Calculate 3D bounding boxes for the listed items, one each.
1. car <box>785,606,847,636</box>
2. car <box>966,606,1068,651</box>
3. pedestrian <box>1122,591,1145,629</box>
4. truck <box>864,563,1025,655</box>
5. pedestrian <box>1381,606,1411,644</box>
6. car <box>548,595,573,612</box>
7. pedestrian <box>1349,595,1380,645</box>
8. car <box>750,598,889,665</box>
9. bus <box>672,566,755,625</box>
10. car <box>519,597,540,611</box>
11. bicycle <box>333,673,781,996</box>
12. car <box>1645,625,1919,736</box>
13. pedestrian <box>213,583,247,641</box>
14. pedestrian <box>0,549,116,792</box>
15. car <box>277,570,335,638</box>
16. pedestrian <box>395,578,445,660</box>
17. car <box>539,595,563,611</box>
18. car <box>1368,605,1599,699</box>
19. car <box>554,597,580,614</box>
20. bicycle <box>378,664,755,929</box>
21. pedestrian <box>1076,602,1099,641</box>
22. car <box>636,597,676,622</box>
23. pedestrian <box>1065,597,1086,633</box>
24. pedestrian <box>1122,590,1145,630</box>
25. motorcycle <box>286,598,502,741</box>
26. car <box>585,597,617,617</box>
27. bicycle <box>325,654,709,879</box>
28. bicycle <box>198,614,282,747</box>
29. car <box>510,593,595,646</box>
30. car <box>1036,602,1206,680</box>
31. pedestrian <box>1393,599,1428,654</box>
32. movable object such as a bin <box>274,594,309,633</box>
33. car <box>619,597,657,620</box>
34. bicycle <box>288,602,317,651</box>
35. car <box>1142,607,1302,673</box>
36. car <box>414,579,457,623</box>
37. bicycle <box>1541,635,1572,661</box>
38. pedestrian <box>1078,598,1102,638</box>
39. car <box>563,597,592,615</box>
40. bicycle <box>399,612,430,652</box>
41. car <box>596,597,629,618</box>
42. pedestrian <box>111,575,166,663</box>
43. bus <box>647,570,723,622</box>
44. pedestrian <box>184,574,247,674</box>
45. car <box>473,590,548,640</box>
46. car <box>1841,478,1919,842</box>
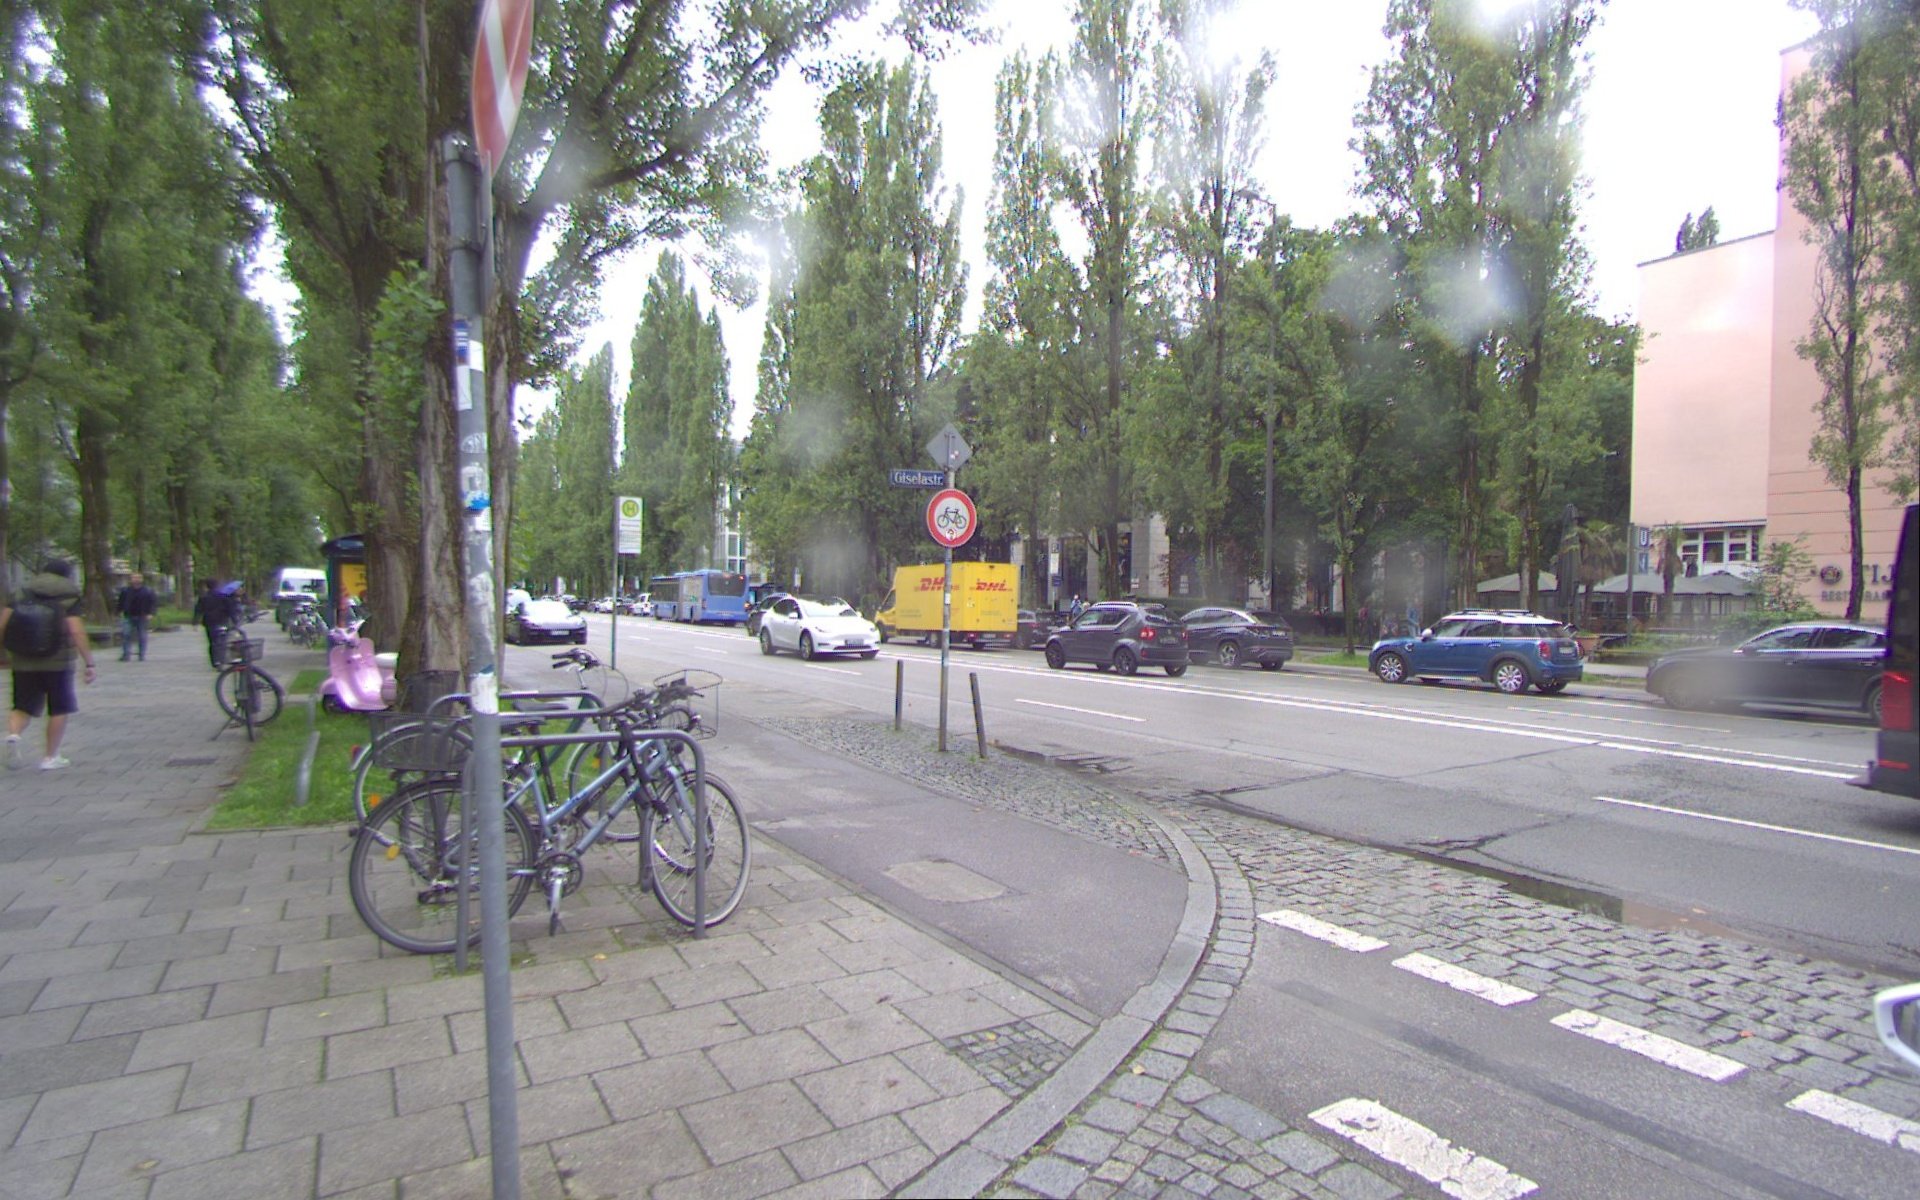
[{"bbox_3d":[-7.462,1.054,51.867,1.773,1.431,3.848,1,0,-32],"label":"car"},{"bbox_3d":[1.983,1.000,36.084,1.773,1.431,3.848,1,0,-32],"label":"car"},{"bbox_3d":[7.814,0.448,45.294,0.701,1.736,0.725,1,0,-31],"label":"pedestrian"},{"bbox_3d":[-0.743,0.267,35.778,2.572,2.946,7.021,1,0,-31],"label":"truck"},{"bbox_3d":[16.113,0.921,37.143,0.723,1.373,0.703,1,0,-31],"label":"pedestrian"},{"bbox_3d":[-44.997,0.366,113.103,1.977,1.745,4.311,2,-1,-31],"label":"car"},{"bbox_3d":[14.345,0.706,35.595,0.701,1.736,0.725,1,0,-31],"label":"pedestrian"},{"bbox_3d":[-3.852,0.758,26.860,1.978,1.596,4.598,-1,1,-32],"label":"car"},{"bbox_3d":[-14.180,-0.214,57.279,2.889,3.092,8.460,0,0,-26],"label":"bus"},{"bbox_3d":[-56.701,0.512,132.274,1.977,1.745,4.311,2,-1,-31],"label":"car"},{"bbox_3d":[-1.649,0.902,4.275,1.681,1.108,0.488,1,0,-28],"label":"bicycle"},{"bbox_3d":[14.180,1.235,16.529,1.773,1.549,4.476,1,0,-31],"label":"car"},{"bbox_3d":[-21.721,0.356,29.903,0.727,1.715,0.642,1,0,-28],"label":"pedestrian"},{"bbox_3d":[-7.163,0.528,7.801,0.743,1.796,0.700,2,-1,-28],"label":"pedestrian"},{"bbox_3d":[-31.454,0.162,48.281,2.177,3.057,5.944,1,0,-34],"label":"car"},{"bbox_3d":[-12.591,0.429,23.431,0.883,1.868,0.759,0,0,-40],"label":"pedestrian"},{"bbox_3d":[-48.697,0.352,119.593,1.977,1.745,4.311,2,-1,-31],"label":"car"},{"bbox_3d":[11.073,1.039,21.501,1.775,1.755,4.041,2,-1,-33],"label":"car"},{"bbox_3d":[-42.744,0.623,109.220,1.977,1.745,4.311,2,-1,-31],"label":"car"},{"bbox_3d":[-1.920,0.902,5.025,1.681,1.108,0.488,1,0,-28],"label":"bicycle"},{"bbox_3d":[5.815,0.982,45.782,0.701,1.736,0.725,1,0,-31],"label":"pedestrian"},{"bbox_3d":[-23.253,0.700,76.713,1.977,1.745,4.085,2,-1,-31],"label":"car"},{"bbox_3d":[5.693,0.739,49.438,0.701,1.736,0.725,1,0,-31],"label":"pedestrian"},{"bbox_3d":[7.629,0.446,44.226,0.701,1.736,0.725,1,0,-31],"label":"pedestrian"},{"bbox_3d":[-5.796,0.678,10.297,1.951,1.211,0.630,6,1,14],"label":"motorcycle"},{"bbox_3d":[-34.016,0.650,95.059,1.977,1.745,4.775,2,-1,-31],"label":"car"},{"bbox_3d":[-2.502,0.891,5.837,1.959,1.108,0.488,1,0,-28],"label":"bicycle"},{"bbox_3d":[-7.266,0.763,10.188,0.577,1.204,1.602,1,0,-32],"label":"bicycle"},{"bbox_3d":[-13.313,0.583,32.666,1.989,1.602,3.966,1,0,-31],"label":"car"},{"bbox_3d":[3.523,0.866,22.584,1.828,1.547,3.722,2,0,-30],"label":"car"},{"bbox_3d":[14.511,0.840,32.367,0.701,1.736,0.725,1,0,-31],"label":"pedestrian"},{"bbox_3d":[-24.649,0.492,37.040,1.053,1.423,0.974,1,0,-35],"label":"movable object such as a bin"},{"bbox_3d":[-26.177,0.685,81.559,1.977,1.745,4.085,2,-1,-31],"label":"car"},{"bbox_3d":[-17.084,0.675,26.118,0.577,1.204,2.123,1,0,-32],"label":"bicycle"},{"bbox_3d":[7.083,1.016,27.528,1.773,1.622,4.200,1,0,-32],"label":"car"},{"bbox_3d":[-33.879,0.050,64.819,1.990,2.667,5.948,1,0,-32],"label":"car"},{"bbox_3d":[18.560,1.486,31.263,1.016,0.809,0.322,1,0,-27],"label":"bicycle"},{"bbox_3d":[5.668,0.795,43.843,0.701,1.736,0.725,1,0,-31],"label":"pedestrian"},{"bbox_3d":[-39.871,0.626,104.517,1.977,1.745,4.775,2,-1,-31],"label":"car"},{"bbox_3d":[-14.882,0.862,27.367,0.548,1.036,1.745,0,0,-35],"label":"bicycle"},{"bbox_3d":[-31.328,0.664,90.600,1.977,1.745,4.085,2,-1,-31],"label":"car"},{"bbox_3d":[-16.324,0.376,19.976,0.727,1.715,0.642,1,0,-28],"label":"pedestrian"},{"bbox_3d":[-17.814,-0.199,64.570,2.889,3.092,9.729,0,0,-27],"label":"bus"},{"bbox_3d":[-13.402,0.417,18.117,0.849,1.734,0.950,1,0,-34],"label":"pedestrian"},{"bbox_3d":[-17.060,0.583,38.023,1.991,1.780,3.963,0,-1,-34],"label":"car"},{"bbox_3d":[9.013,0.421,5.579,2.060,2.590,5.879,-1,1,-32],"label":"car"}]
